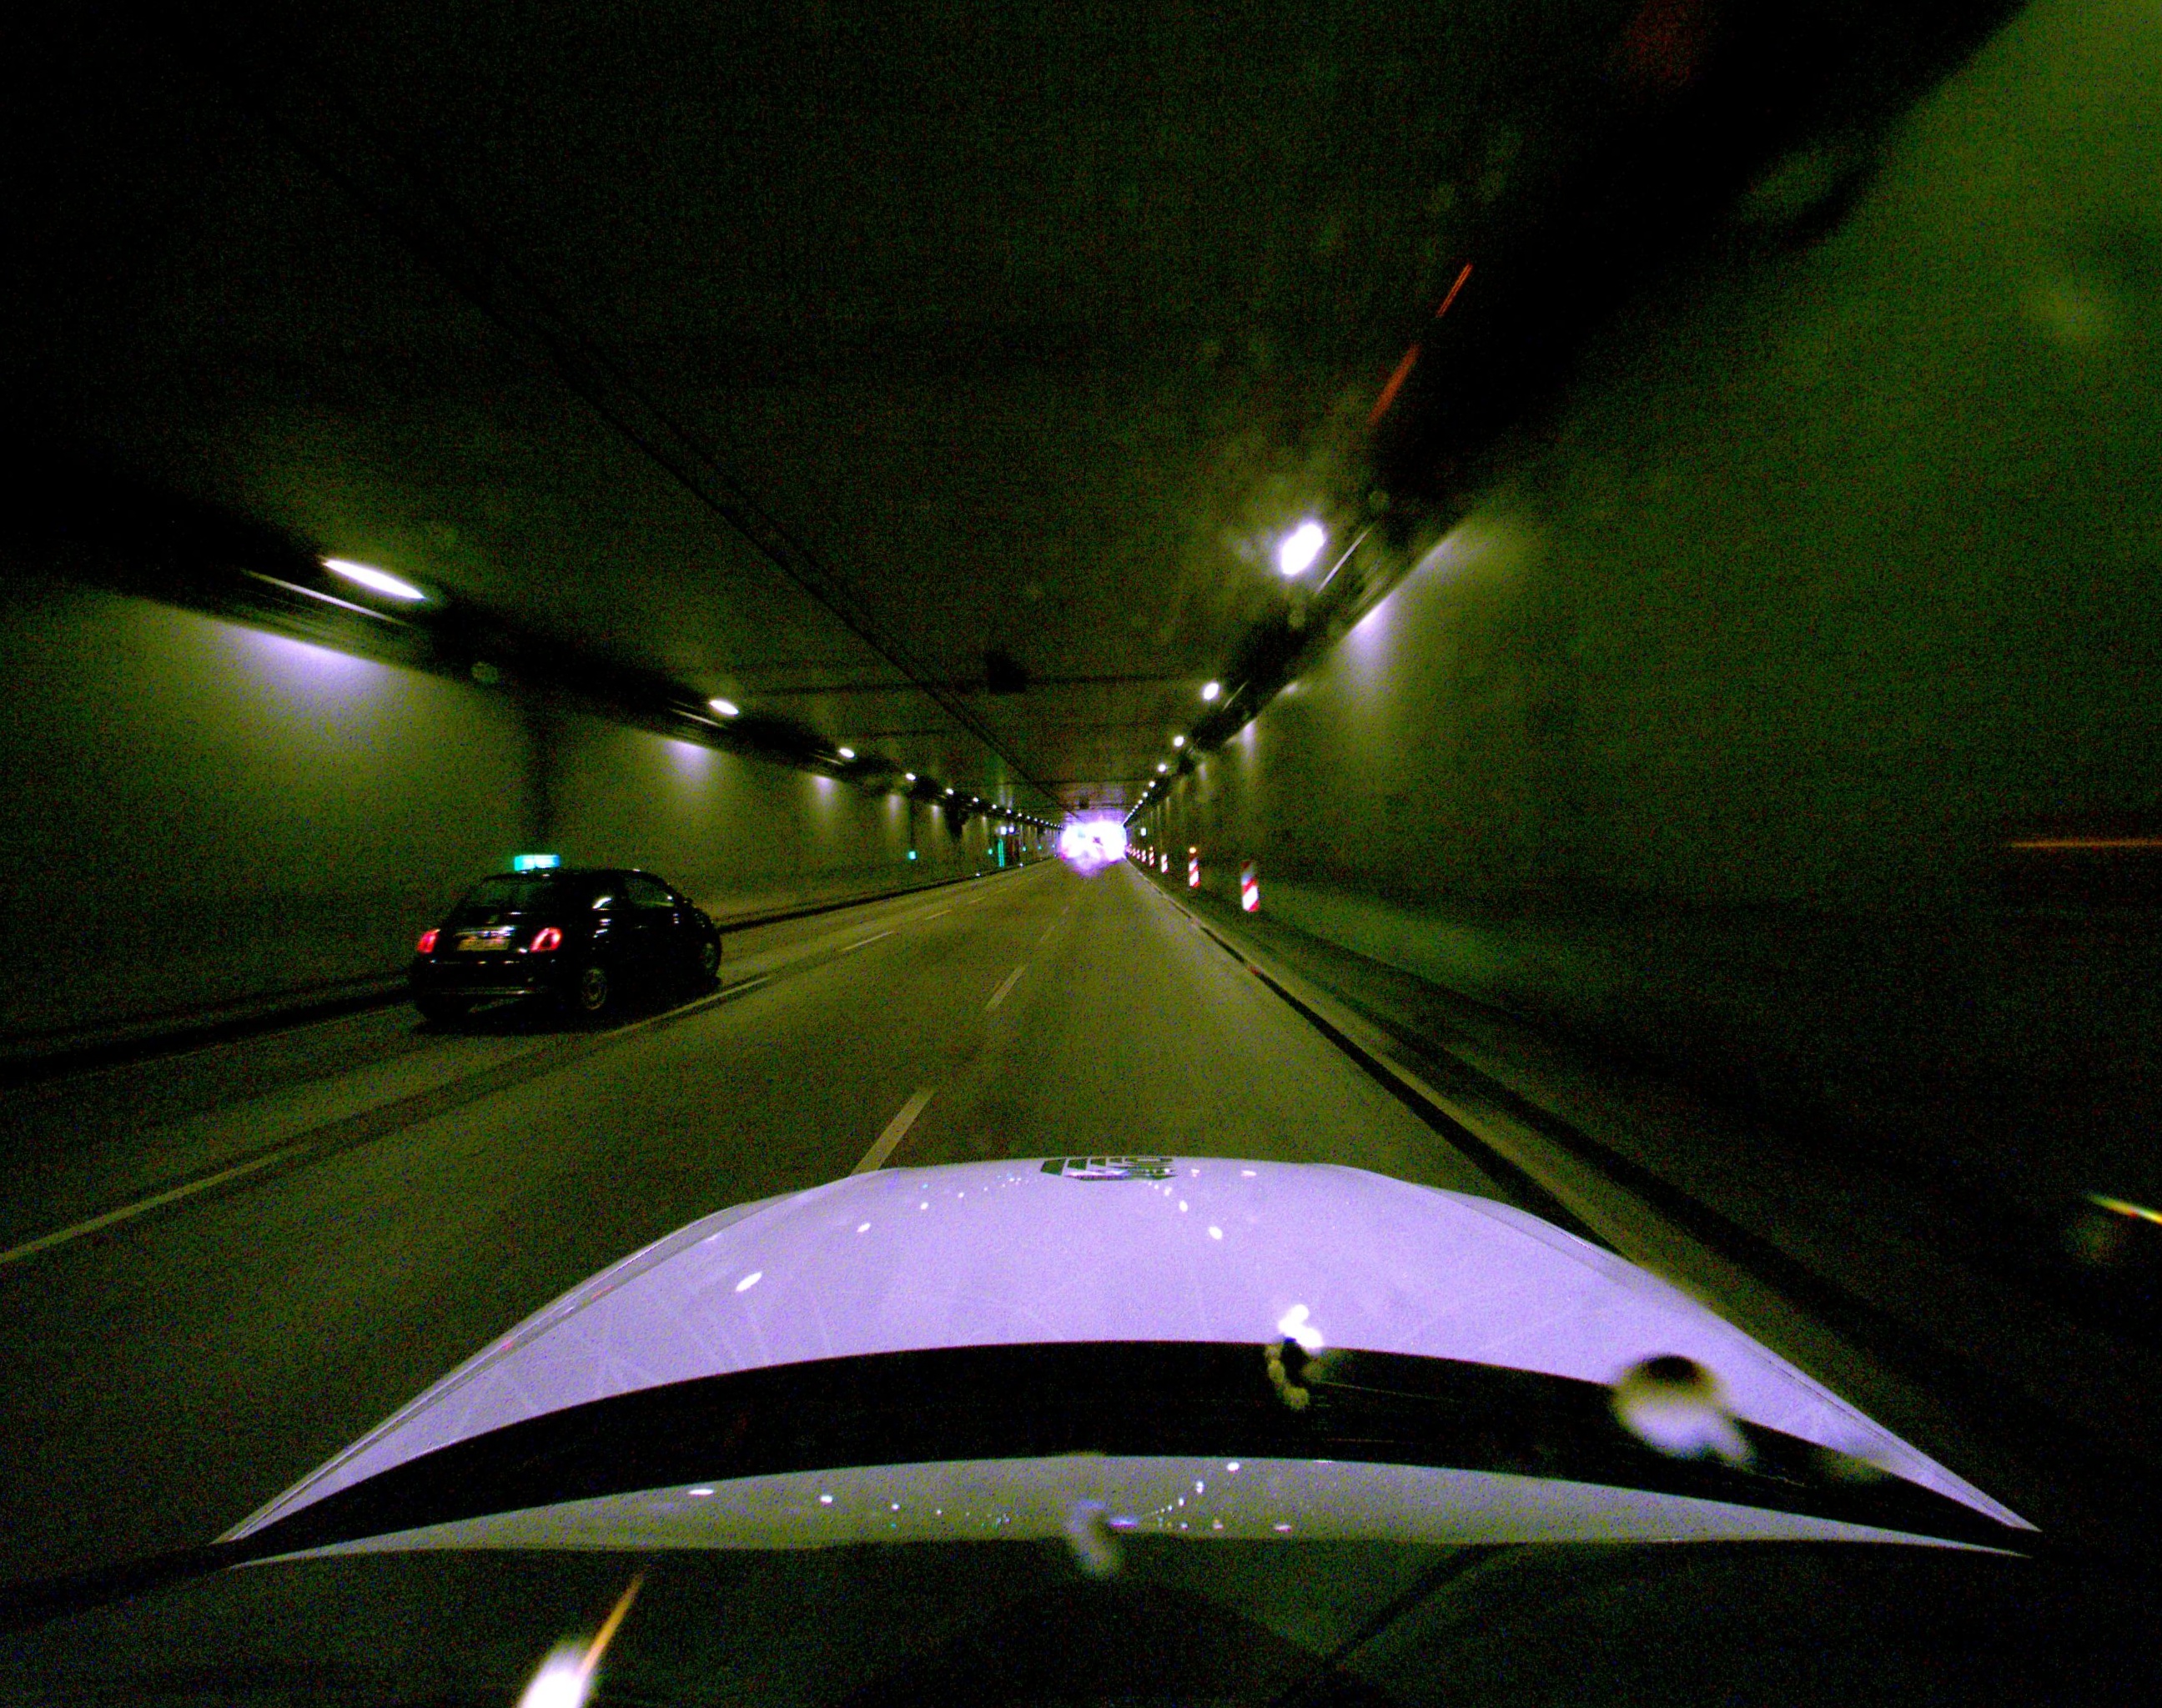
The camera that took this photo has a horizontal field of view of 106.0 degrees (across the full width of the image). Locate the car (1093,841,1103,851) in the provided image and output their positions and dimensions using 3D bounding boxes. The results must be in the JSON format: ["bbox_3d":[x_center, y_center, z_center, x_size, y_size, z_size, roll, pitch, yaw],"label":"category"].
[{"bbox_3d":[3.465,-1.727,169.427,1.986,2.013,4.002,-1,0,2],"label":"car"}]

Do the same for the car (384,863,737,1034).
[{"bbox_3d":[-5.468,0.877,9.160,1.606,1.454,3.573,-1,0,1],"label":"car"}]

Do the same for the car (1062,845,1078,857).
[{"bbox_3d":[-1.403,-0.423,102.294,1.988,1.448,4.311,0,0,-2],"label":"car"}]

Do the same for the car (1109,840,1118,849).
[{"bbox_3d":[7.444,-2.179,184.666,1.986,2.013,4.002,-1,0,2],"label":"car"}]
